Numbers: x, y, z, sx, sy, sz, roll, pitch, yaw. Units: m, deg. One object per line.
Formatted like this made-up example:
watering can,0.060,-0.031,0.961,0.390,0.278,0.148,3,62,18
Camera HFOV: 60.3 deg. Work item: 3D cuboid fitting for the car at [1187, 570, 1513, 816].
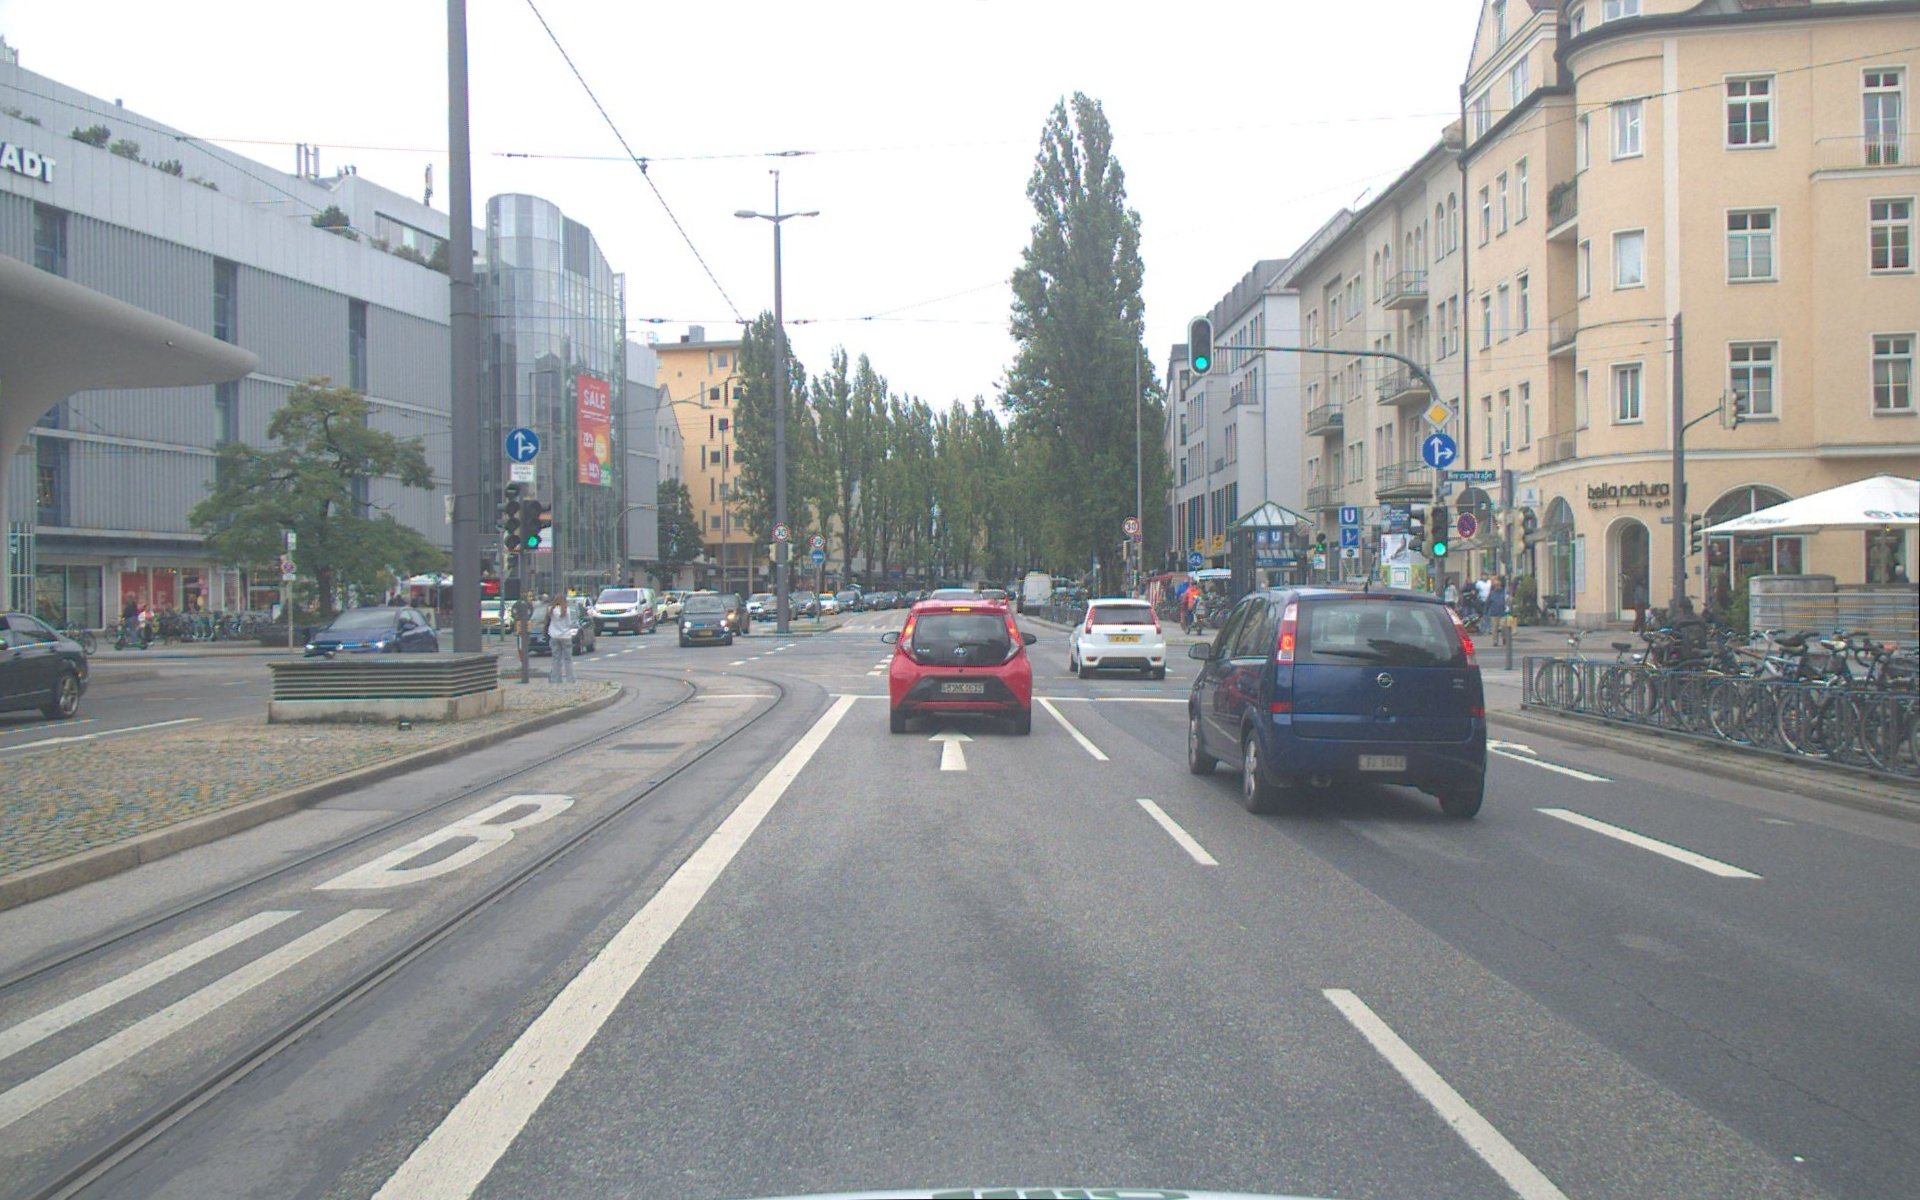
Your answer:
car,2.871,0.614,12.921,1.668,1.617,3.556,1,0,0

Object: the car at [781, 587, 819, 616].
car,-10.053,0.088,104.494,1.707,1.699,4.734,-1,1,2

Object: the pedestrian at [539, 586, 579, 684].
pedestrian,-6.850,0.583,28.215,0.482,1.646,0.551,-1,0,-35

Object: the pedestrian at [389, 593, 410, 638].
pedestrian,-23.090,0.630,68.177,0.739,1.804,0.767,-1,0,-24

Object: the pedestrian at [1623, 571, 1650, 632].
pedestrian,19.334,0.040,47.274,0.666,1.714,0.747,0,3,19

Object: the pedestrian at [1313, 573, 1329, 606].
pedestrian,18.241,-0.535,83.557,0.628,1.673,0.562,-1,0,-1

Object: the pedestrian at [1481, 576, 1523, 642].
pedestrian,14.862,0.235,45.371,0.913,1.786,1.066,-1,0,10

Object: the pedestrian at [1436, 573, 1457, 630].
pedestrian,14.816,0.037,50.366,0.554,1.699,0.562,0,3,22

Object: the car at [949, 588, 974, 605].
car,0.194,-0.334,173.933,1.951,1.758,3.920,-1,0,10

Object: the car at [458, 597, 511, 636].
car,-21.031,0.708,73.306,1.959,1.562,4.400,-2,1,-13

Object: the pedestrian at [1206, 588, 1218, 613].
pedestrian,14.406,0.015,94.436,0.586,1.427,0.580,-1,0,-1

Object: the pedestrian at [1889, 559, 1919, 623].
pedestrian,26.406,-0.263,46.098,0.666,1.734,0.748,-1,3,9

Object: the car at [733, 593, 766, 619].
car,-13.359,0.365,105.029,1.664,1.624,3.999,-1,0,-2

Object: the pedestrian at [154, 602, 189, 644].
pedestrian,-30.825,0.882,64.669,0.780,1.608,0.978,-1,0,10

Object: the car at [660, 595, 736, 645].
car,-8.233,0.600,51.794,1.525,1.471,3.513,-1,0,-23

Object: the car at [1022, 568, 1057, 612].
car,5.199,-0.675,108.233,2.063,2.766,4.804,-1,0,0

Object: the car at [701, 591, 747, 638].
car,-8.202,0.498,57.293,1.476,1.561,2.831,-1,0,-10

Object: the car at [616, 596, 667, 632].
car,-14.431,0.621,75.137,1.631,1.535,4.280,-1,0,-2

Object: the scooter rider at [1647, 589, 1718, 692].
scooter rider,10.130,0.559,23.190,0.686,1.413,0.643,-1,0,-2

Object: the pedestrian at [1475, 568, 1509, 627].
pedestrian,16.171,-0.084,50.288,0.637,1.734,0.726,-3,4,-30

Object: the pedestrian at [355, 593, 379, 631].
pedestrian,-24.120,0.493,67.243,0.743,1.519,0.763,-1,0,-35

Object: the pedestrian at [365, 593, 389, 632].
pedestrian,-24.074,0.518,68.281,0.743,1.581,0.763,-1,0,-37

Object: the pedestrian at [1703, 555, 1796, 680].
pedestrian,11.551,0.245,24.221,0.867,1.773,0.854,-1,0,-17

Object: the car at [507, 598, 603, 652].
car,-11.535,0.679,47.356,1.805,1.441,4.034,-1,0,-1

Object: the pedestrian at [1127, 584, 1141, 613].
pedestrian,10.697,-0.107,101.670,0.774,1.758,0.764,-1,0,-1

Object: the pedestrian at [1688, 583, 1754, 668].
pedestrian,14.376,0.468,31.244,0.717,1.567,0.887,-1,0,-15

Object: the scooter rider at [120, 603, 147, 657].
scooter rider,-29.251,1.059,58.535,0.652,1.867,0.619,-1,0,-5

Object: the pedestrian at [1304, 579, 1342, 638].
pedestrian,10.776,0.251,49.044,0.820,1.720,0.816,-1,0,37

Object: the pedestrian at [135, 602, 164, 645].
pedestrian,-30.703,0.890,62.666,0.625,1.601,0.721,-1,0,20

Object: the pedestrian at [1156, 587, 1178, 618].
pedestrian,10.510,0.117,83.914,0.798,1.548,0.794,-1,0,-24

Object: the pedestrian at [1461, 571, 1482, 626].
pedestrian,15.602,-0.047,50.493,0.548,1.637,0.568,-1,3,12

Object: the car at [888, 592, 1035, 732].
car,0.029,0.660,19.284,1.572,1.487,3.130,1,0,0

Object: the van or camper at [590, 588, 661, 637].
van or camper,-13.675,0.461,67.938,1.889,1.857,5.439,-2,0,-1

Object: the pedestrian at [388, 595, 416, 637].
pedestrian,-22.605,0.651,67.024,0.754,1.683,0.752,-1,0,10

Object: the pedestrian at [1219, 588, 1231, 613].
pedestrian,15.136,0.026,94.418,0.563,1.427,0.580,-1,0,-1

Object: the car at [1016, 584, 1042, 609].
car,4.757,-0.224,114.375,1.668,1.691,3.556,0,0,0

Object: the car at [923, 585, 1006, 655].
car,0.081,0.459,41.712,1.953,1.646,3.999,-1,0,-1

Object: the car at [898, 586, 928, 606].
car,-4.279,-0.369,152.328,1.951,1.721,4.925,-1,0,7

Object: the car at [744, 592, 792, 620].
car,-10.813,0.327,93.461,1.952,1.436,4.169,4,0,3

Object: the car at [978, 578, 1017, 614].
car,1.974,-0.224,88.029,1.953,1.870,3.999,0,0,-1

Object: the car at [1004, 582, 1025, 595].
car,7.214,-1.549,217.737,1.951,1.721,4.418,-1,0,12

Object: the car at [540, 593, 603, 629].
car,-18.120,0.480,77.335,1.862,1.570,4.393,-1,1,0

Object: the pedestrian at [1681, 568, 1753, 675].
pedestrian,12.493,0.339,27.296,0.749,1.725,0.761,-1,0,-26

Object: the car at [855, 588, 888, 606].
car,-7.203,-0.221,135.063,1.805,1.407,4.604,0,0,9

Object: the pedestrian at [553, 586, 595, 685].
pedestrian,-6.527,0.589,27.979,0.513,1.646,0.461,-1,0,43

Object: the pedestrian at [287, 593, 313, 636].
pedestrian,-26.709,0.578,66.927,0.780,1.717,0.852,-1,0,-35

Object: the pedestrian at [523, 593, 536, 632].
pedestrian,-19.689,0.581,75.661,0.439,1.790,0.353,-1,0,42

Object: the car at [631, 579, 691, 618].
car,-16.373,-0.094,90.957,1.952,2.049,5.526,-1,0,4

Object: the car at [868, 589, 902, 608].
car,-6.416,-0.163,142.400,1.951,1.561,4.591,-1,0,9

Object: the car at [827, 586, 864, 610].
car,-8.643,-0.148,125.156,1.895,1.769,4.592,0,0,7

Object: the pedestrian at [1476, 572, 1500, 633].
pedestrian,15.740,0.070,49.307,0.635,1.781,0.637,0,3,22
